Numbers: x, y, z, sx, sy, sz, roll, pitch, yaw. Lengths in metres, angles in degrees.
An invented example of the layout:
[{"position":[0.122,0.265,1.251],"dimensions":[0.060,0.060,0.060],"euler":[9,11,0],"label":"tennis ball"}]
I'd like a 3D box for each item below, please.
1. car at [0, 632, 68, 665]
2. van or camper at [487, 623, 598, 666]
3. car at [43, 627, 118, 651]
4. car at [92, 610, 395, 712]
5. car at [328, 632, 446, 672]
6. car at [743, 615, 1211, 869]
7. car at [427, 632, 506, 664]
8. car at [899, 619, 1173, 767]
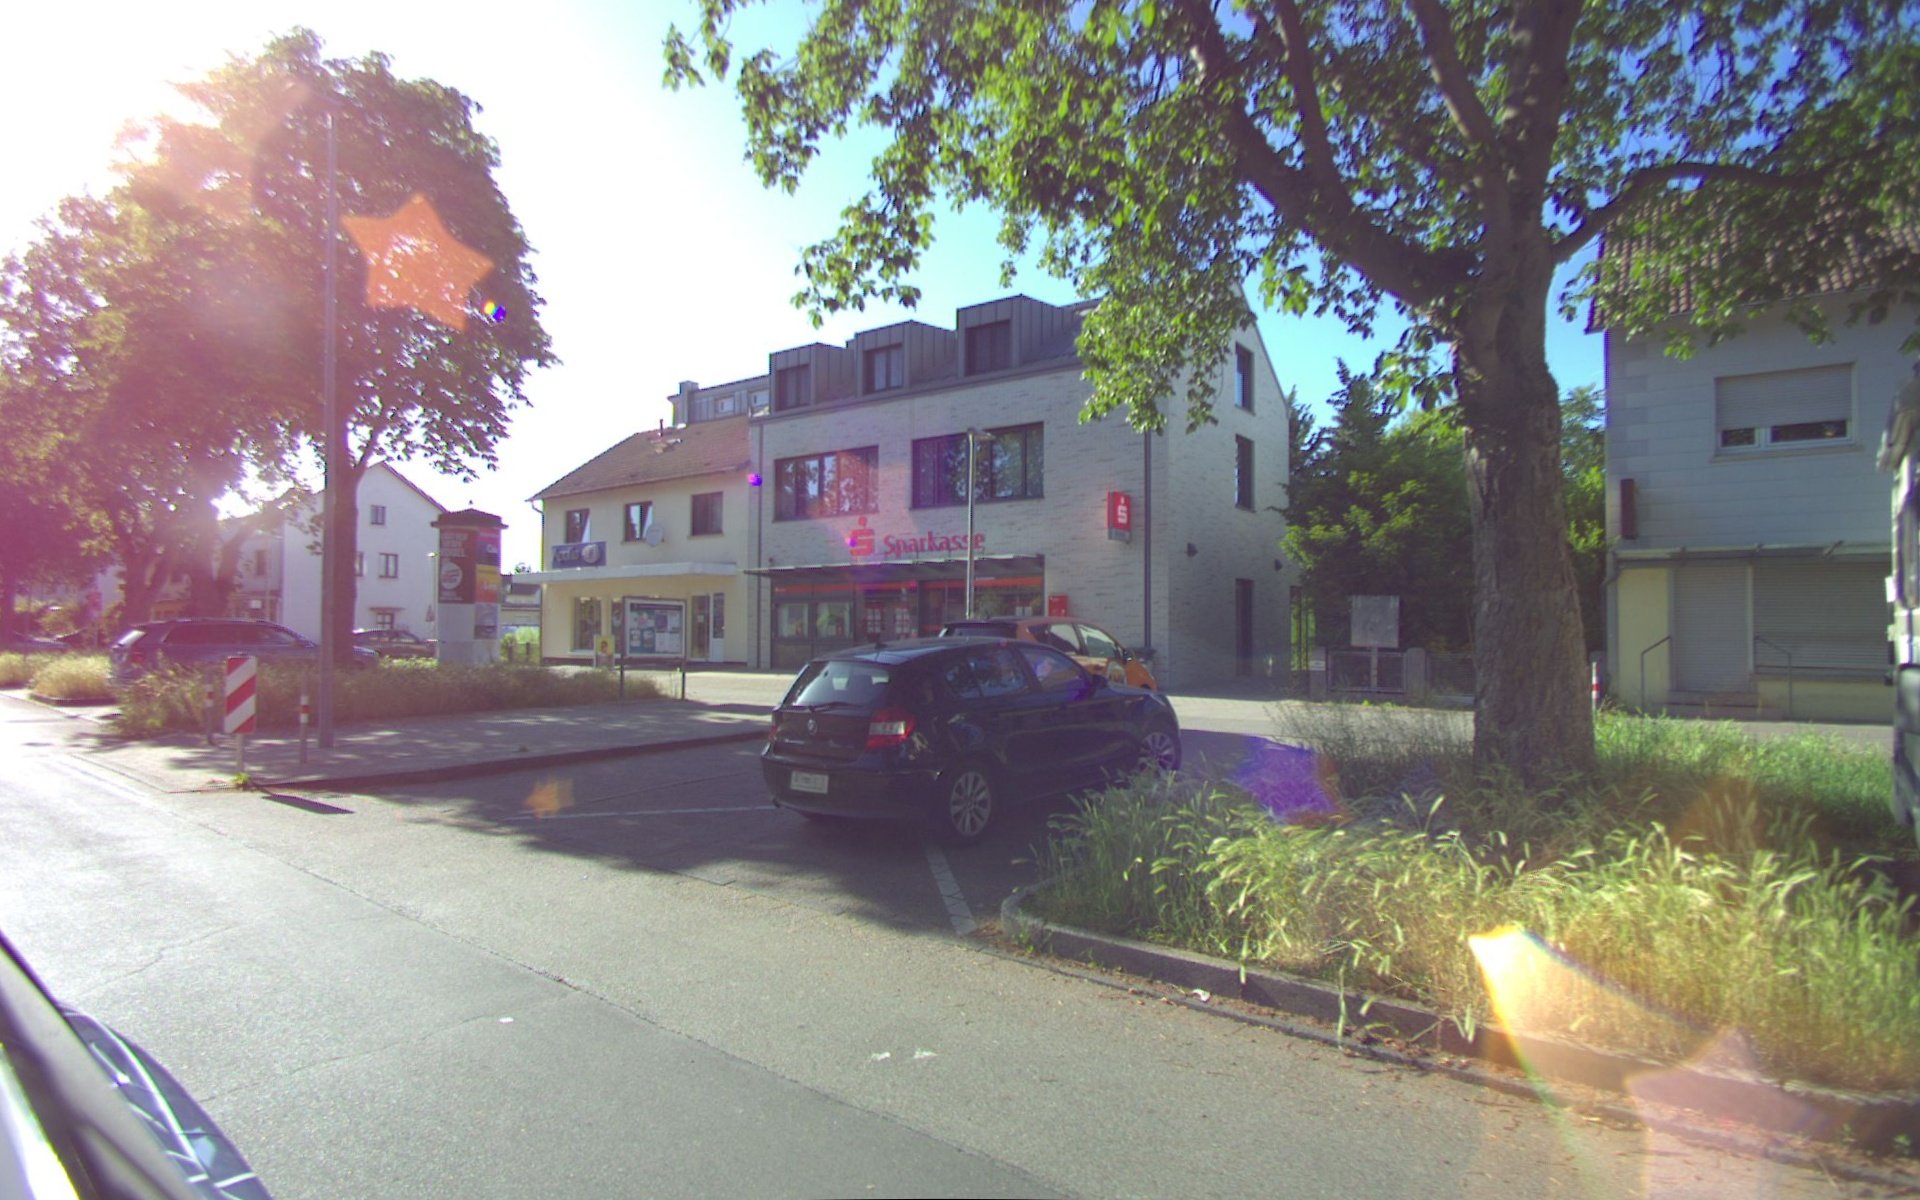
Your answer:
[{"position":[-44.017,2.235,46.437],"dimensions":[1.998,1.426,4.339],"euler":[-1,0,38],"label":"car"},{"position":[-20.422,2.142,49.669],"dimensions":[1.997,2.029,4.629],"euler":[-1,-2,37],"label":"van or camper"},{"position":[-60.430,2.715,69.581],"dimensions":[1.691,1.577,3.724],"euler":[-1,-3,43],"label":"car"},{"position":[-15.428,1.209,22.099],"dimensions":[1.996,1.741,5.017],"euler":[-1,1,35],"label":"car"},{"position":[-24.719,2.245,43.801],"dimensions":[1.994,1.650,3.954],"euler":[-1,-3,33],"label":"car"},{"position":[0.344,0.914,8.317],"dimensions":[1.639,1.460,3.944],"euler":[-1,1,42],"label":"car"},{"position":[-27.072,2.601,55.490],"dimensions":[4.658,1.539,1.856],"euler":[1,-1,35],"label":"car"},{"position":[1.140,1.053,13.210],"dimensions":[1.865,1.554,3.954],"euler":[-1,-1,34],"label":"car"}]
